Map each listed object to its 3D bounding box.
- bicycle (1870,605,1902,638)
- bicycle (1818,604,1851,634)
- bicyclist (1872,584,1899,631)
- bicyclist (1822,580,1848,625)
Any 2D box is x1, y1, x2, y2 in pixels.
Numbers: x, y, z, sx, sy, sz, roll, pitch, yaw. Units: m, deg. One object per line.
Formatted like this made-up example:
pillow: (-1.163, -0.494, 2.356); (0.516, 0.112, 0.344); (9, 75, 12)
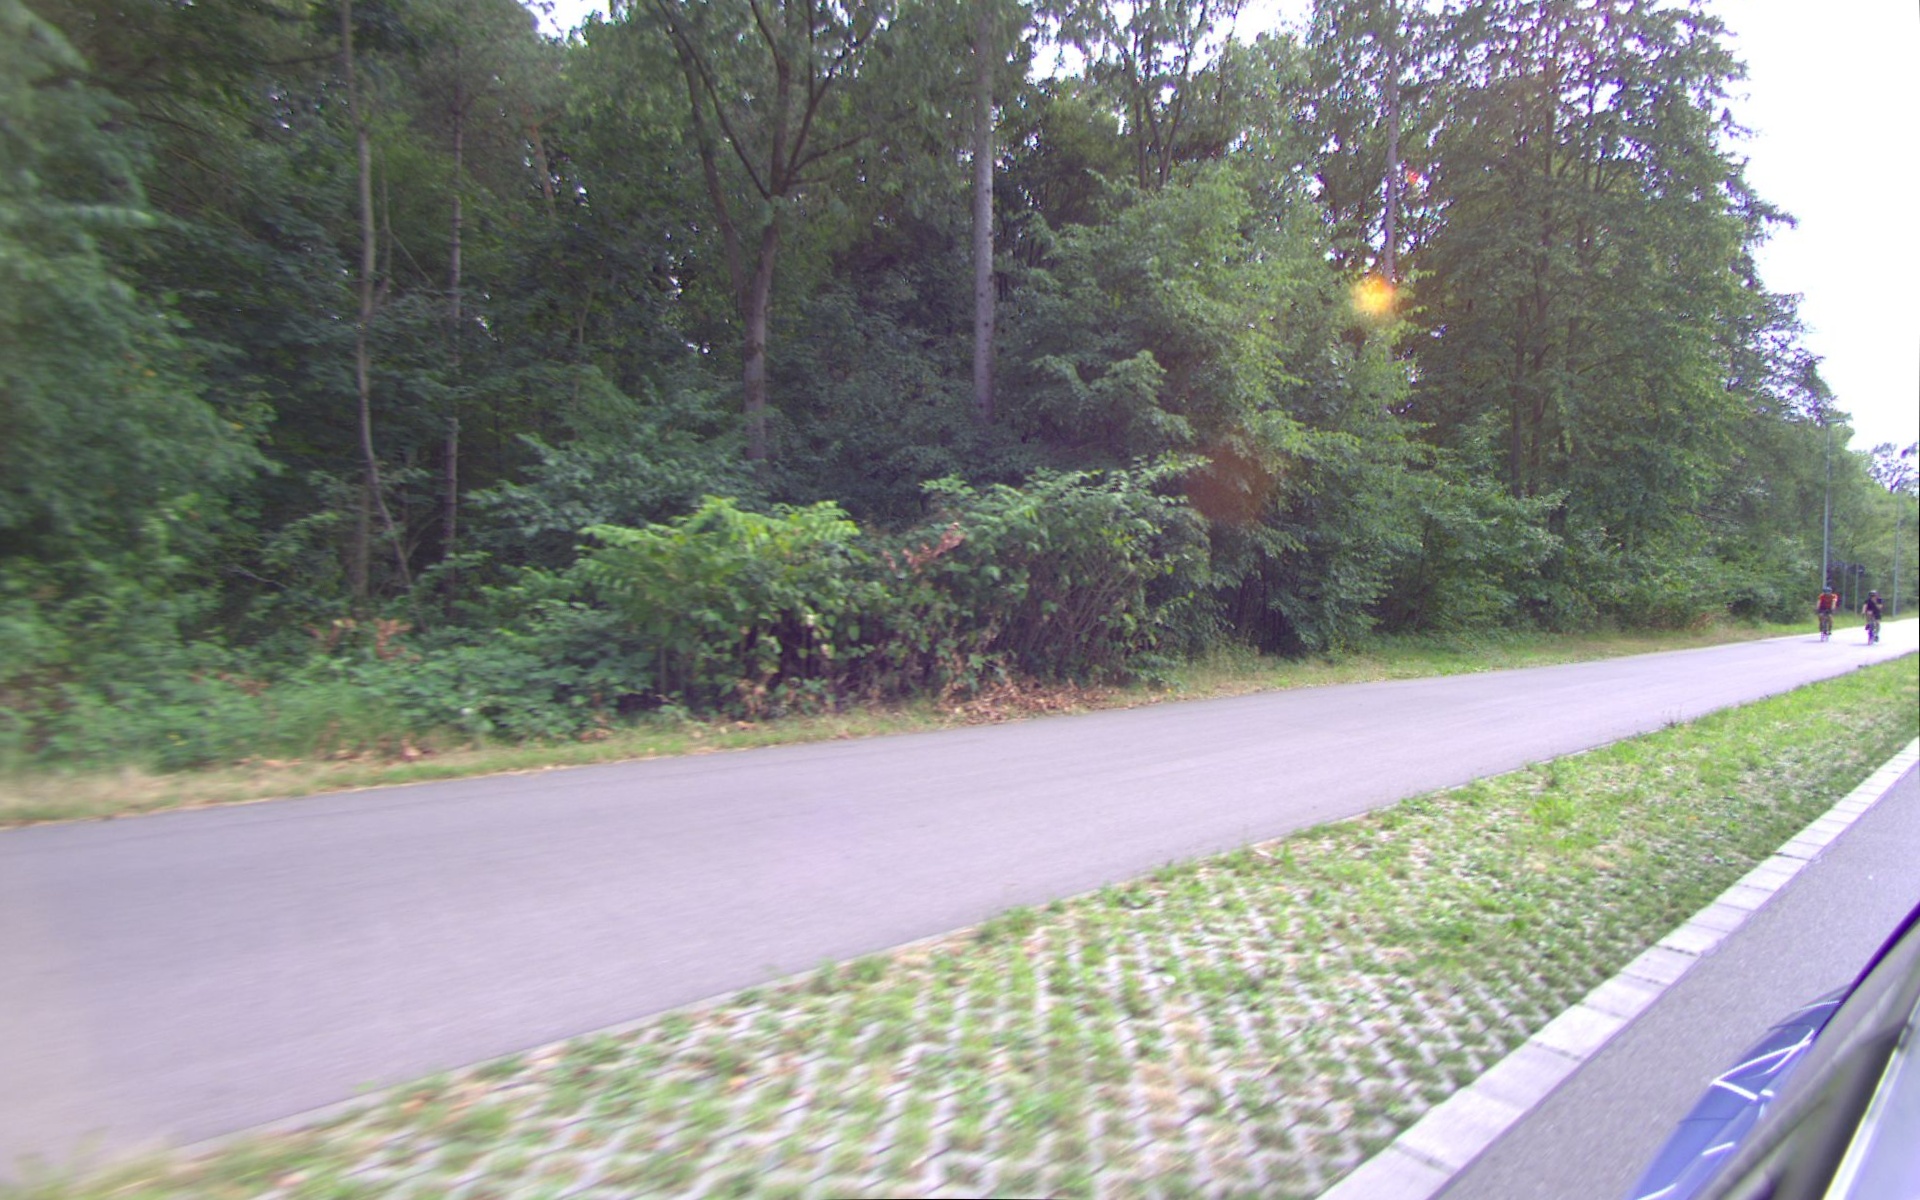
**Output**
bicycle: (29.026, 0.661, 31.722); (1.725, 0.922, 0.566); (-1, 4, -43)
bicycle: (28.169, 0.607, 32.595); (1.855, 0.923, 0.566); (1, 3, -44)
bicyclist: (28.953, 0.213, 31.640); (1.167, 1.433, 0.520); (-1, 2, -43)
bicyclist: (28.192, 0.073, 32.611); (1.167, 1.433, 0.520); (-1, 0, -43)
